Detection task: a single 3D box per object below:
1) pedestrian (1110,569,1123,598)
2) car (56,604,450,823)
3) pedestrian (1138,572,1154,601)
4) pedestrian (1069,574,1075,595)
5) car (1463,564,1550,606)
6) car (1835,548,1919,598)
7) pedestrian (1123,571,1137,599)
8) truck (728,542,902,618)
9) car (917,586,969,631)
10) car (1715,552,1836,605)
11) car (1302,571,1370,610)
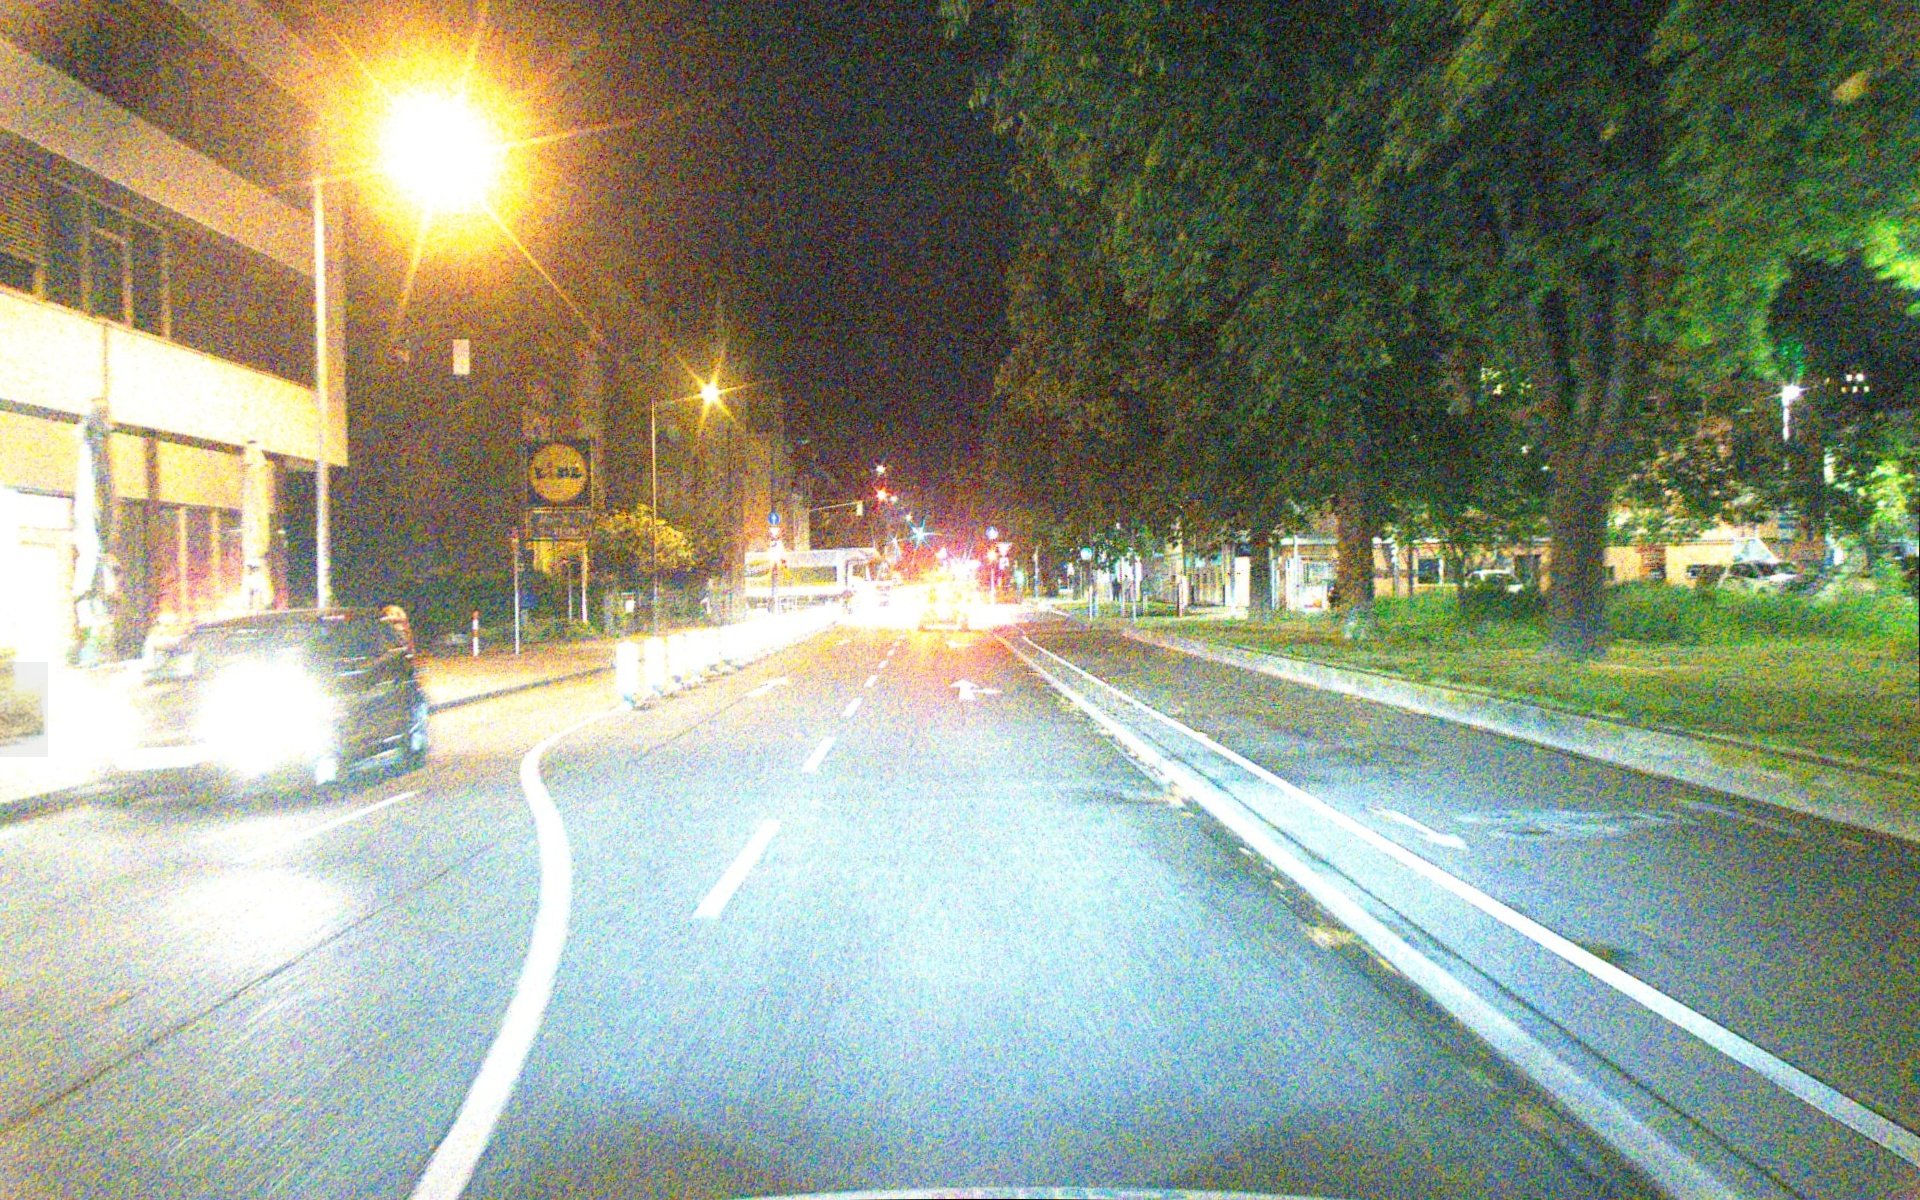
[{"bbox_3d":[9.949,-1.043,105.251,0.699,1.799,0.907,-2,1,-1],"label":"pedestrian"},{"bbox_3d":[-5.699,0.818,13.906,1.633,1.453,3.999,-3,0,-2],"label":"car"},{"bbox_3d":[11.857,-0.857,105.502,0.882,1.799,0.907,-2,1,-1],"label":"pedestrian"},{"bbox_3d":[11.153,-1.558,165.148,0.478,2.049,0.550,-2,0,-2],"label":"pedestrian"},{"bbox_3d":[21.330,-0.580,64.652,1.747,1.560,3.995,-2,1,-5],"label":"car"},{"bbox_3d":[30.328,-0.868,52.975,1.851,1.539,4.890,-2,1,-2],"label":"car"},{"bbox_3d":[10.802,-0.957,105.368,0.724,1.799,0.907,-2,1,-1],"label":"pedestrian"},{"bbox_3d":[-8.149,-1.080,92.198,9.896,3.782,2.758,-2,0,32],"label":"truck"},{"bbox_3d":[-0.597,0.260,59.243,1.768,1.520,4.729,1,0,0],"label":"car"},{"bbox_3d":[25.680,-0.675,52.250,1.732,1.560,4.098,-2,1,-1],"label":"car"},{"bbox_3d":[14.616,-0.365,64.502,1.482,1.419,4.480,-2,0,-1],"label":"car"}]
